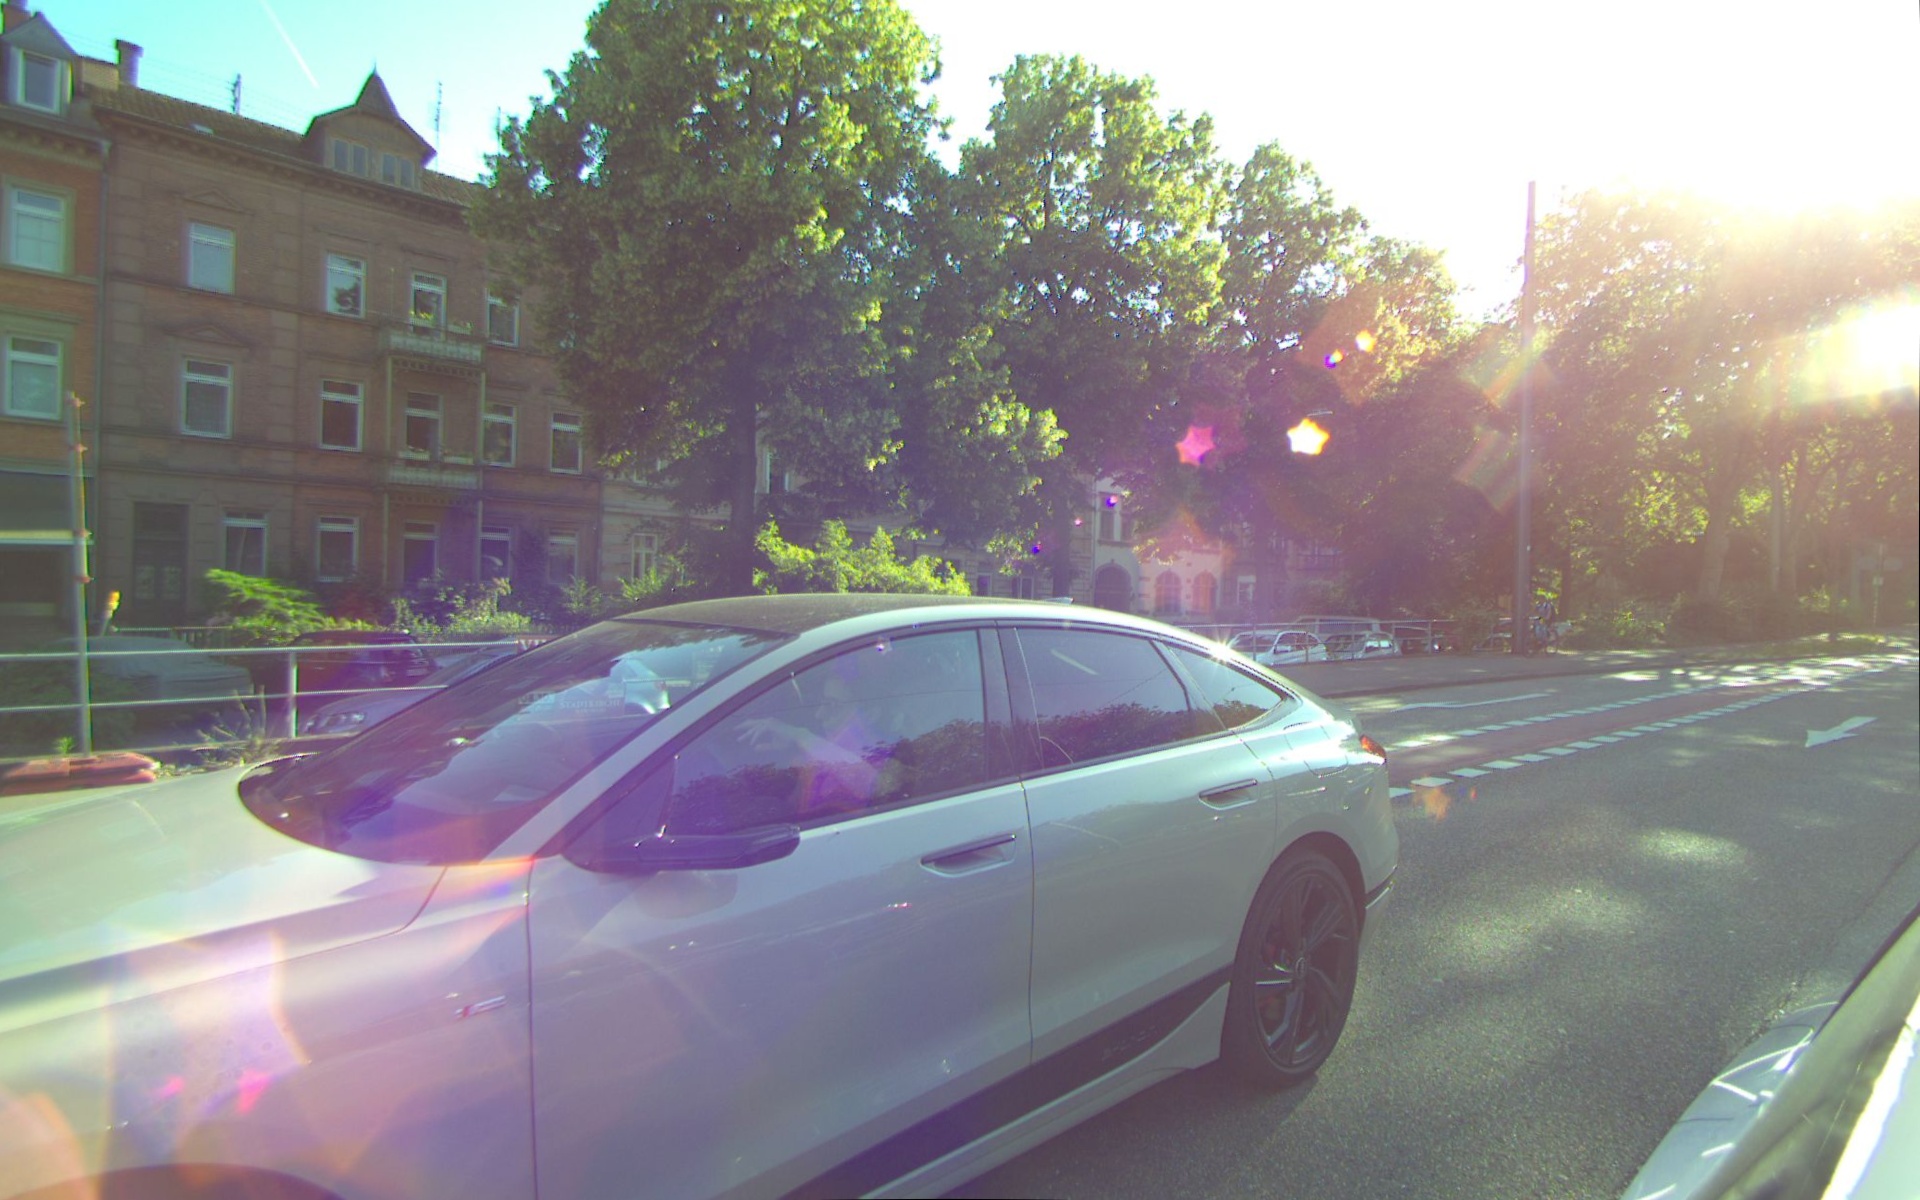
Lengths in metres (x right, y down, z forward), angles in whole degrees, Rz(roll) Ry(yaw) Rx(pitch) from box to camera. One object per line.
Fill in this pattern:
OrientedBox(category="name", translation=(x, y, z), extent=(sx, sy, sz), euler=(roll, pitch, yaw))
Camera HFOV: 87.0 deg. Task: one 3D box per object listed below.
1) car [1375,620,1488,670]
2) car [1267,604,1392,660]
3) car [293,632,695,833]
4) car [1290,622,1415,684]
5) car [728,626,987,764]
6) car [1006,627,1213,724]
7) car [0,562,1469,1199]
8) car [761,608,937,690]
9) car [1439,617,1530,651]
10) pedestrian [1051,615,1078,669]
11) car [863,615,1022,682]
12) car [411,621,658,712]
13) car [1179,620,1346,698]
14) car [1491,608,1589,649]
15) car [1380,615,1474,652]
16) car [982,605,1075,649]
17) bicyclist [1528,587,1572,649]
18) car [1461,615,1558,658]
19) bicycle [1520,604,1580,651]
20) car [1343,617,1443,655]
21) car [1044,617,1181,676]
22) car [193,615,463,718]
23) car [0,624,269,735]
OrientedBox(category="car", translation=(14.597, 1.334, 31.261), extent=(3.932, 1.325, 1.796), euler=(-1, 1, -42))
OrientedBox(category="car", translation=(15.021, 1.265, 41.390), extent=(4.621, 1.990, 1.862), euler=(2, 1, 18))
OrientedBox(category="car", translation=(-5.729, 1.462, 12.780), extent=(4.286, 1.922, 1.796), euler=(-1, 0, -43))
OrientedBox(category="car", translation=(10.758, 1.391, 27.633), extent=(3.516, 1.459, 1.796), euler=(-1, 1, -42))
OrientedBox(category="car", translation=(-1.580, 1.425, 16.789), extent=(1.793, 1.825, 4.147), euler=(0, 1, 42))
OrientedBox(category="car", translation=(3.136, 1.447, 20.716), extent=(4.365, 1.599, 1.797), euler=(-1, 1, -41))
OrientedBox(category="car", translation=(-0.528, 0.689, 2.963), extent=(4.769, 1.491, 1.933), euler=(0, 0, -41))
OrientedBox(category="car", translation=(-2.722, 1.161, 25.079), extent=(3.939, 1.756, 1.793), euler=(2, 1, 13))
OrientedBox(category="car", translation=(27.554, 1.757, 53.263), extent=(3.947, 1.529, 1.790), euler=(2, 1, 18))
OrientedBox(category="pedestrian", translation=(3.552, 1.422, 34.310), extent=(0.621, 1.768, 0.648), euler=(0, 0, -45))
OrientedBox(category="car", translation=(-0.466, 1.271, 27.658), extent=(3.951, 1.532, 1.788), euler=(2, 1, 21))
OrientedBox(category="car", translation=(-8.350, 1.241, 19.967), extent=(4.190, 1.424, 1.955), euler=(2, 1, 16))
OrientedBox(category="car", translation=(7.459, 1.355, 24.751), extent=(4.474, 1.599, 1.797), euler=(-1, 1, -41))
OrientedBox(category="car", translation=(32.562, 1.572, 56.923), extent=(4.408, 2.039, 1.984), euler=(2, 1, 20))
OrientedBox(category="car", translation=(23.005, 1.629, 49.954), extent=(3.947, 1.529, 1.790), euler=(2, 1, 18))
OrientedBox(category="car", translation=(2.783, 1.071, 41.571), extent=(1.770, 1.541, 3.570), euler=(0, 2, -43))
OrientedBox(category="bicyclist", translation=(14.797, 0.437, 25.374), extent=(0.639, 1.532, 0.767), euler=(0, 0, -41))
OrientedBox(category="car", translation=(19.401, 1.233, 35.656), extent=(3.932, 1.325, 1.796), euler=(-1, 1, -42))
OrientedBox(category="bicycle", translation=(14.807, 0.676, 25.398), extent=(1.768, 1.121, 0.767), euler=(0, 1, -41))
OrientedBox(category="car", translation=(19.350, 1.593, 45.344), extent=(3.871, 1.470, 1.680), euler=(2, 1, 17))
OrientedBox(category="car", translation=(4.702, 1.393, 31.525), extent=(1.769, 1.532, 3.994), euler=(1, 1, -42))
OrientedBox(category="car", translation=(-11.262, 1.131, 18.140), extent=(3.937, 1.498, 1.794), euler=(2, 1, 11))
OrientedBox(category="car", translation=(-13.261, 1.180, 15.904), extent=(3.940, 1.365, 1.772), euler=(2, 1, 13))
